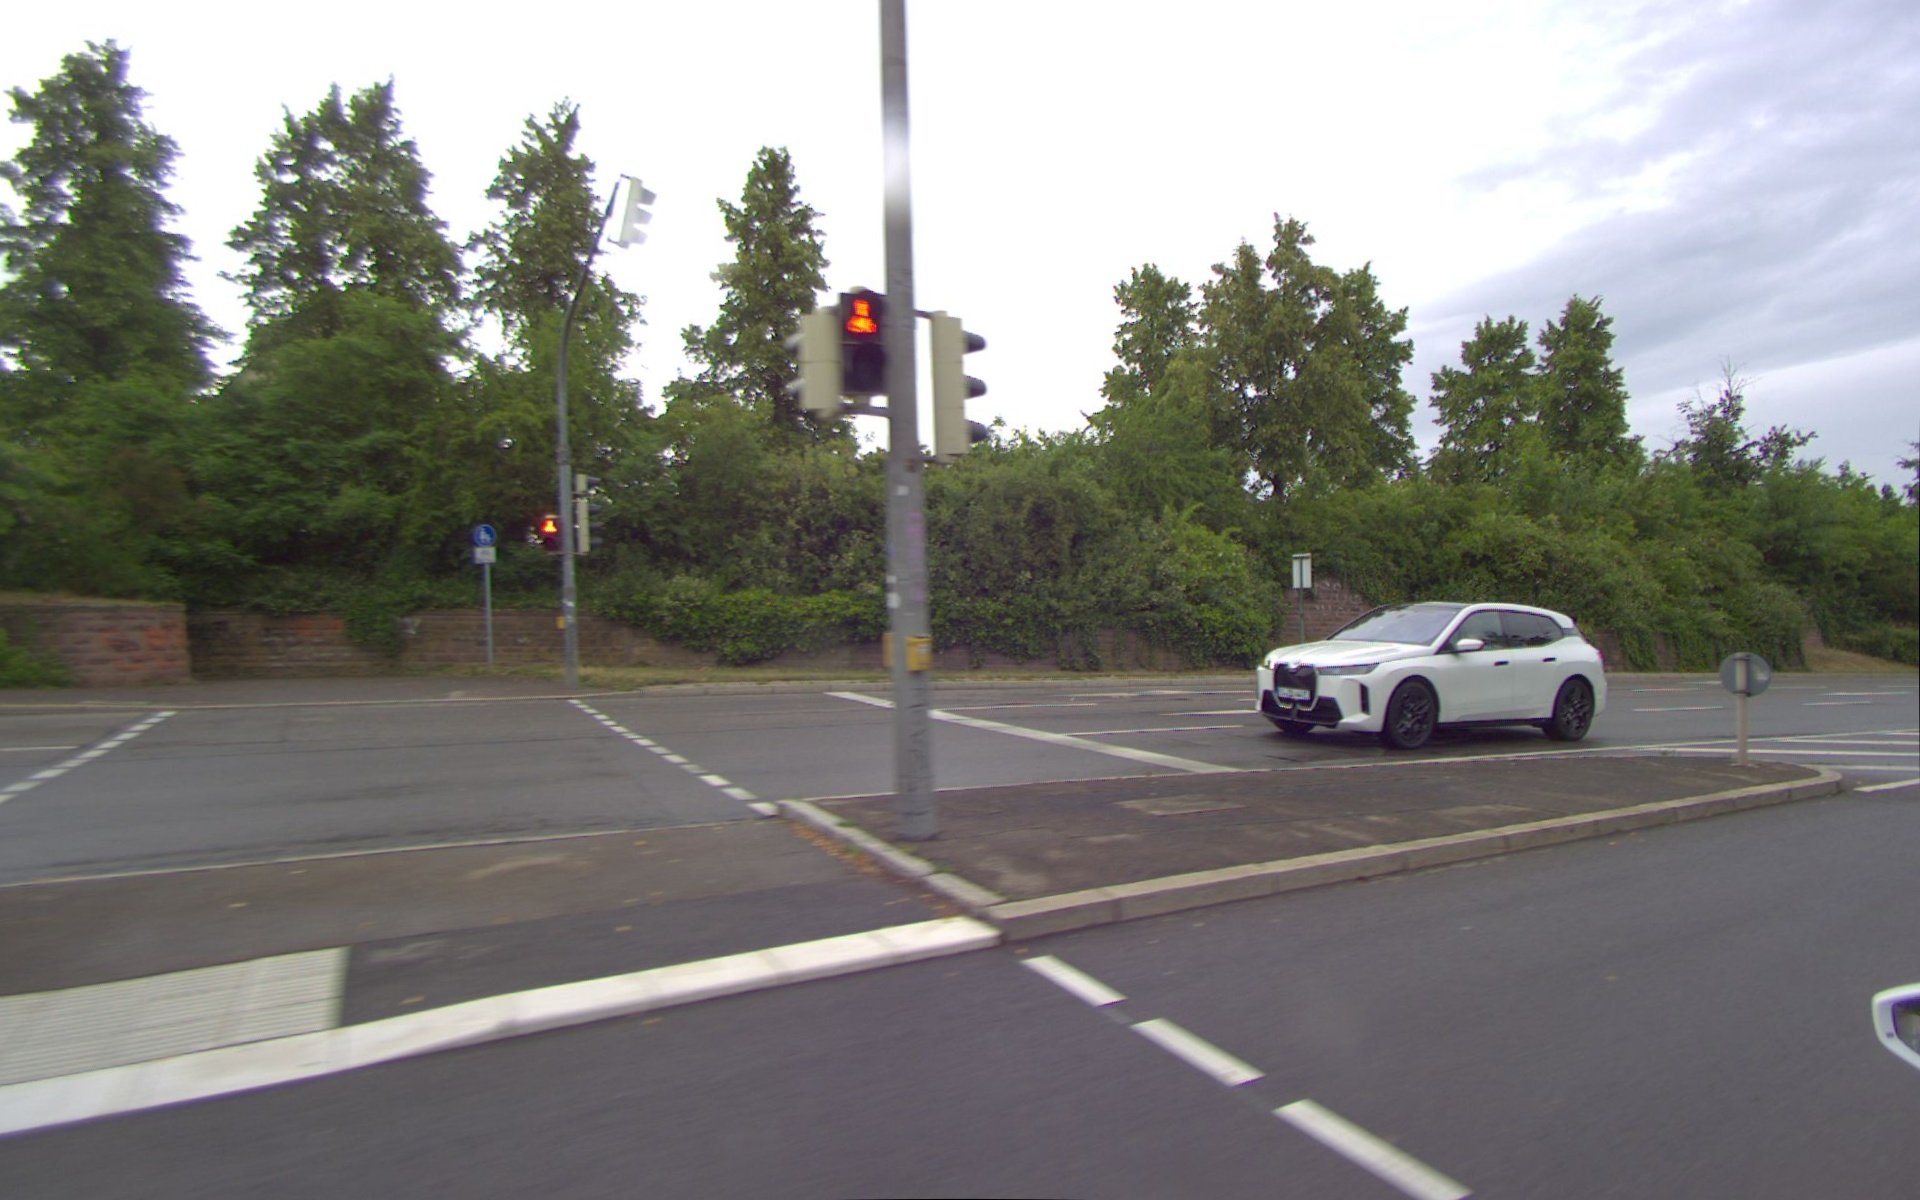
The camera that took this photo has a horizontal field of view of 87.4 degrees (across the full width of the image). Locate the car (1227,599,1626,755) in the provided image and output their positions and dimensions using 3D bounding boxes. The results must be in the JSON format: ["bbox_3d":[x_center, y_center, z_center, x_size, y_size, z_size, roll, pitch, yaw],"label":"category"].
[{"bbox_3d":[5.940,0.874,12.665,4.940,1.657,1.938,1,-1,-27],"label":"car"}]
